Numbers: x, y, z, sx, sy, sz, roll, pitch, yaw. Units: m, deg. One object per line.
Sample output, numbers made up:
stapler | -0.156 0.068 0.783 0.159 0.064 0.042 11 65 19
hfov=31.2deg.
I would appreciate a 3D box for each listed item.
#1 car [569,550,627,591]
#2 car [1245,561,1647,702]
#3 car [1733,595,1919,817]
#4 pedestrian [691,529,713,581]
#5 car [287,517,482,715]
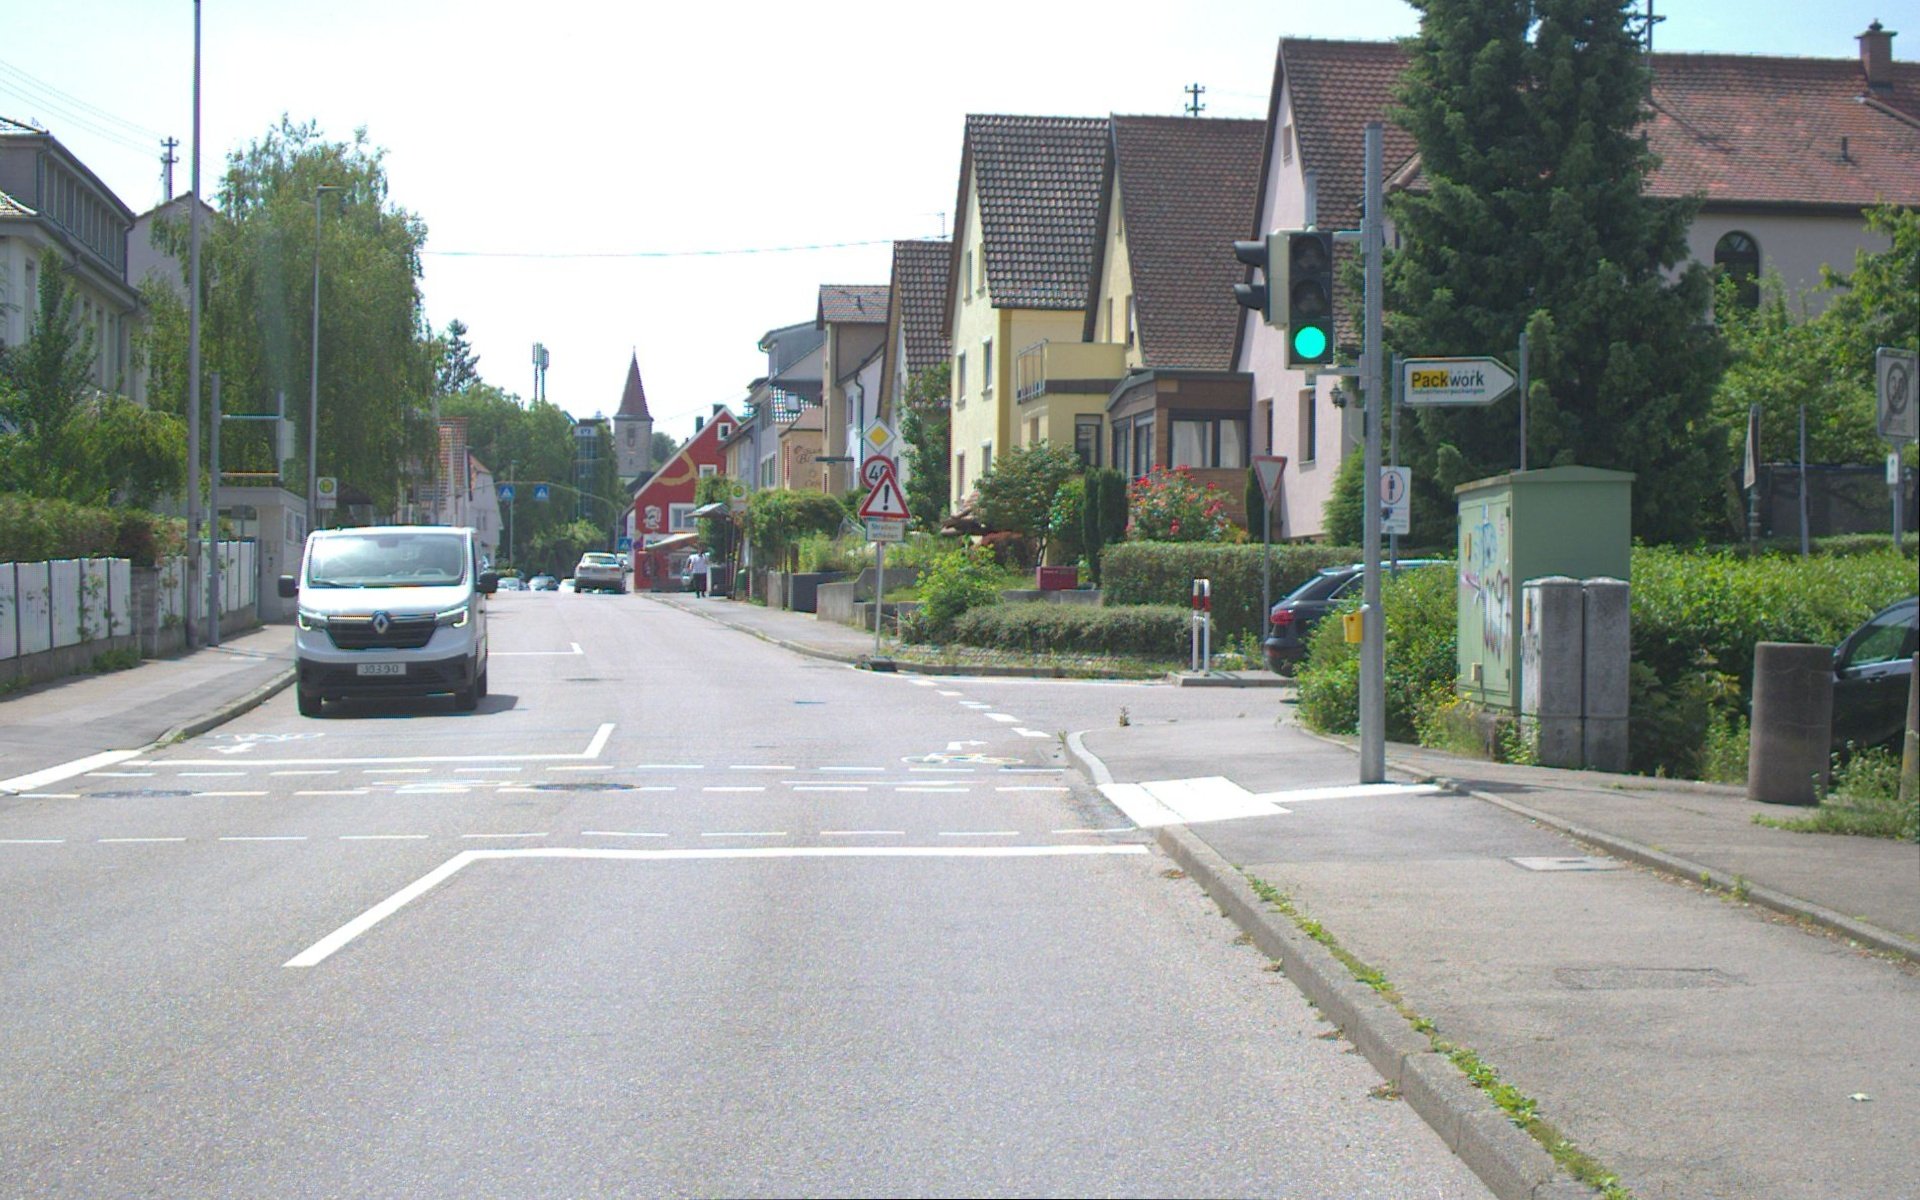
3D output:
car | -14.318 -1.181 135.810 1.993 1.555 4.315 0 1 -10
car | 5.493 0.344 39.133 4.290 1.536 1.540 0 2 -3
car | 7.340 0.773 24.882 1.709 1.546 4.066 2 -1 -14
pedestrian | -8.818 -1.542 117.487 0.646 1.724 0.608 -2 2 -7
car | -6.172 0.115 37.289 1.879 1.958 4.904 -1 1 -8
